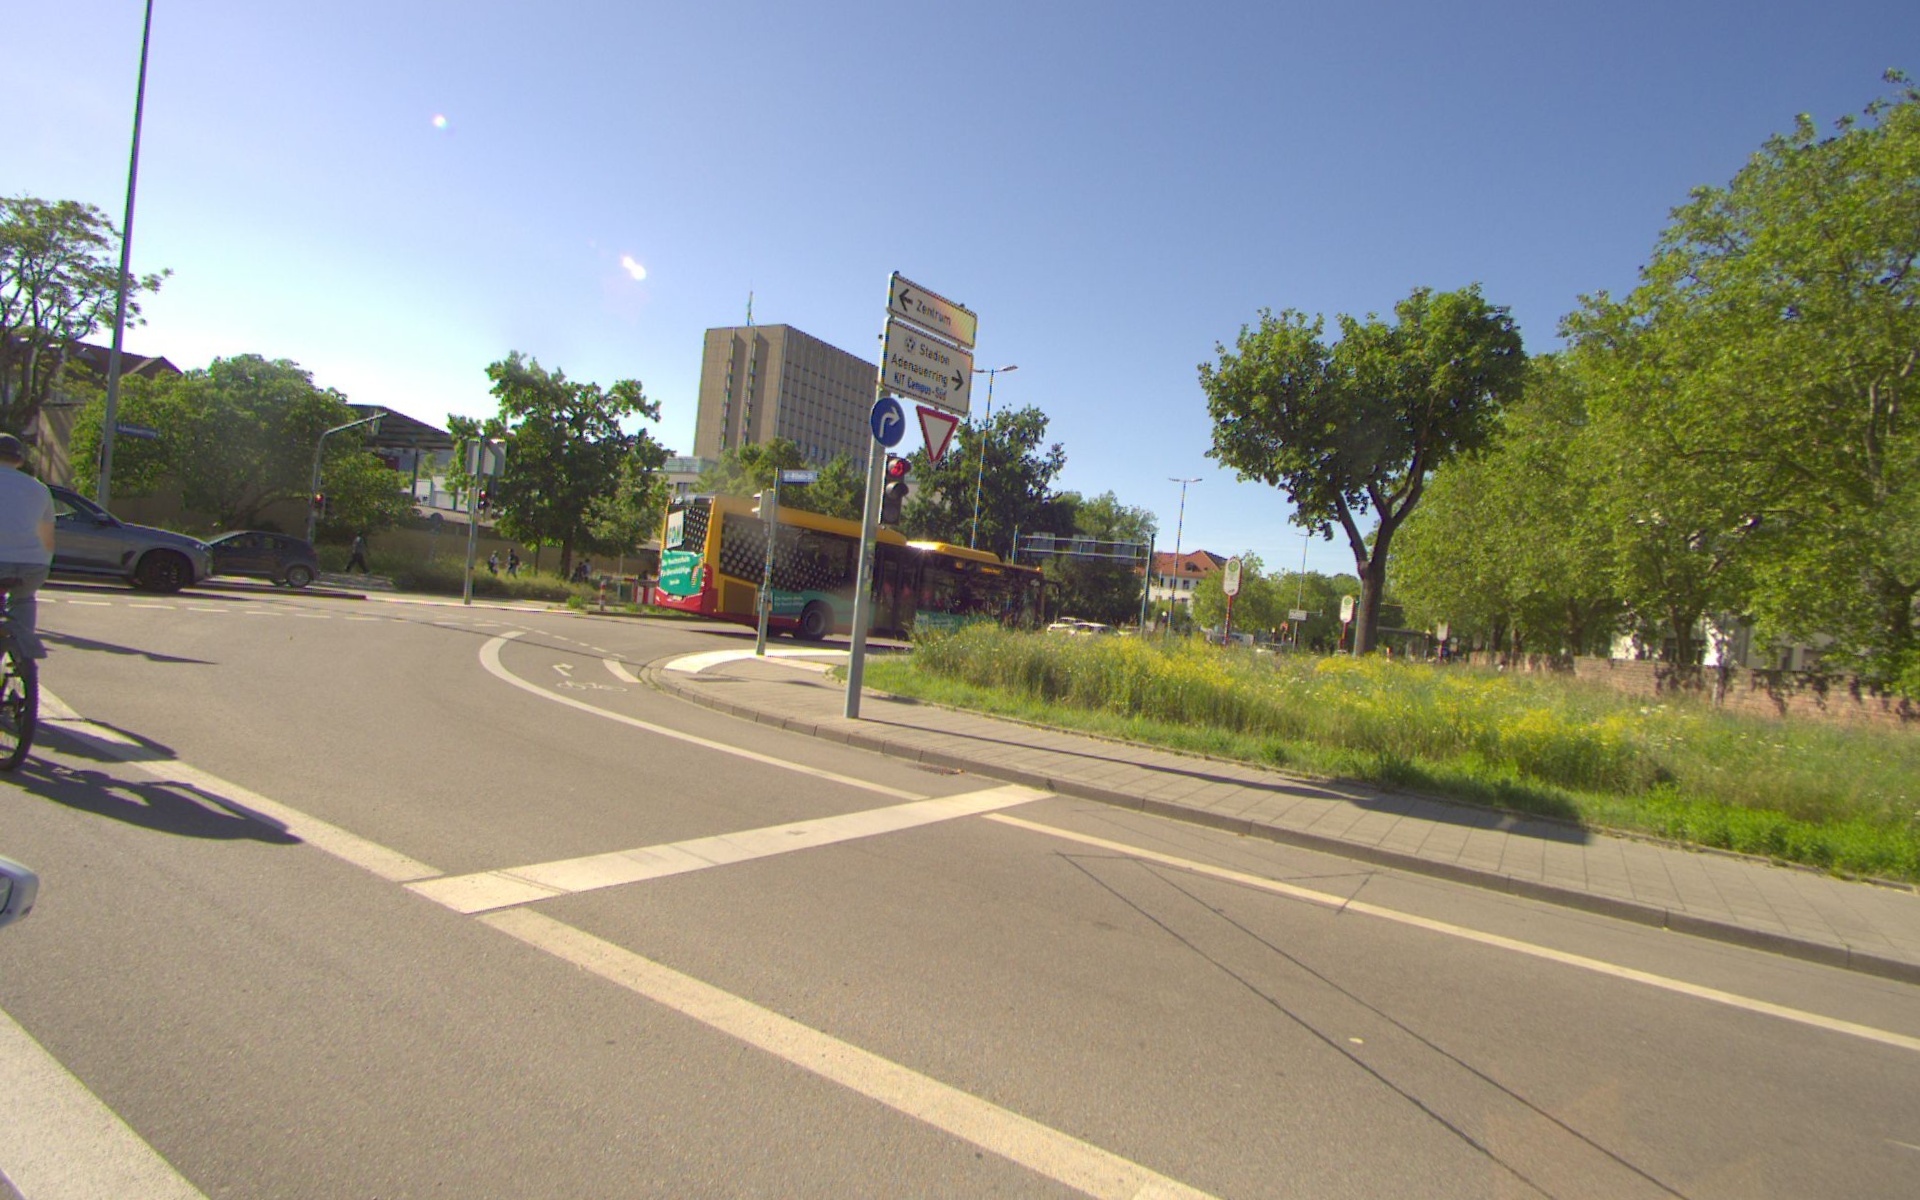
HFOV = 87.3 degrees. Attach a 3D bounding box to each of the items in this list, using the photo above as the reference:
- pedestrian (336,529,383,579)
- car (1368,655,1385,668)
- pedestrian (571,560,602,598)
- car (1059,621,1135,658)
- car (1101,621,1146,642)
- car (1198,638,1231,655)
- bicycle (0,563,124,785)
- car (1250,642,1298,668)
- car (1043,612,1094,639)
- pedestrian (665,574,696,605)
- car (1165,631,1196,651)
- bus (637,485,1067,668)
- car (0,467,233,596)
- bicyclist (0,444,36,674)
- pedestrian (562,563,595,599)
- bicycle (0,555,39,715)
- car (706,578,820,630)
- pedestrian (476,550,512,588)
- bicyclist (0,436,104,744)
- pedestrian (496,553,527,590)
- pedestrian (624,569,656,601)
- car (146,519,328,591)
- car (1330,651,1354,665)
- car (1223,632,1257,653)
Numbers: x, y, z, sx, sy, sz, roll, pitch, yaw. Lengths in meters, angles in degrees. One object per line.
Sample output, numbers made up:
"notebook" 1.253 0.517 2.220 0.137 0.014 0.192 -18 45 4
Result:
"pedestrian" -24.831 -1.912 41.609 0.953 1.879 1.294 7 1 43
"car" 69.139 10.257 166.791 1.966 1.786 3.996 6 -2 30
"pedestrian" -18.447 -1.040 49.650 0.911 1.754 0.963 7 1 36
"car" 6.389 1.858 46.631 1.732 1.390 3.987 7 0 35
"car" 12.676 2.451 77.915 1.968 1.378 3.998 5 -1 33
"car" 24.496 4.442 96.624 1.967 1.378 4.001 5 -1 30
"bicycle" -5.736 0.354 5.813 1.871 1.064 0.748 6 1 31
"car" 20.610 3.617 65.959 1.863 1.419 3.848 3 -3 35
"car" 8.404 1.996 77.416 1.968 1.625 4.506 7 0 33
"pedestrian" -15.016 -0.557 54.066 0.975 1.540 1.129 7 1 35
"car" 21.135 3.923 96.424 1.888 1.625 4.080 7 0 26
"bus" -2.364 -0.369 28.219 12.385 3.614 3.209 7 0 -44
"car" -16.261 -1.288 18.107 1.976 1.884 4.721 7 0 40
"bicyclist" -7.302 -0.355 7.137 1.063 1.601 0.675 7 -1 31
"pedestrian" -18.322 -0.914 48.324 0.865 1.540 1.074 7 1 36
"bicycle" -7.398 0.151 7.151 1.813 1.063 0.672 6 -1 31
"car" -7.761 0.191 39.887 1.882 1.625 4.124 7 0 37
"pedestrian" -21.006 -1.400 45.349 0.917 1.540 1.083 7 1 41
"bicyclist" -5.620 -0.083 5.764 0.851 1.695 0.741 7 1 30
"pedestrian" -21.104 -1.334 47.357 0.979 1.625 0.816 6 1 -45
"pedestrian" -16.759 -0.772 52.757 0.927 1.540 1.145 7 1 38
"car" -21.375 -1.310 29.860 1.810 1.590 3.982 7 0 40
"car" 50.581 7.674 133.206 1.892 1.625 4.072 7 0 35
"car" 30.536 4.637 109.767 1.968 1.966 4.834 7 0 35
